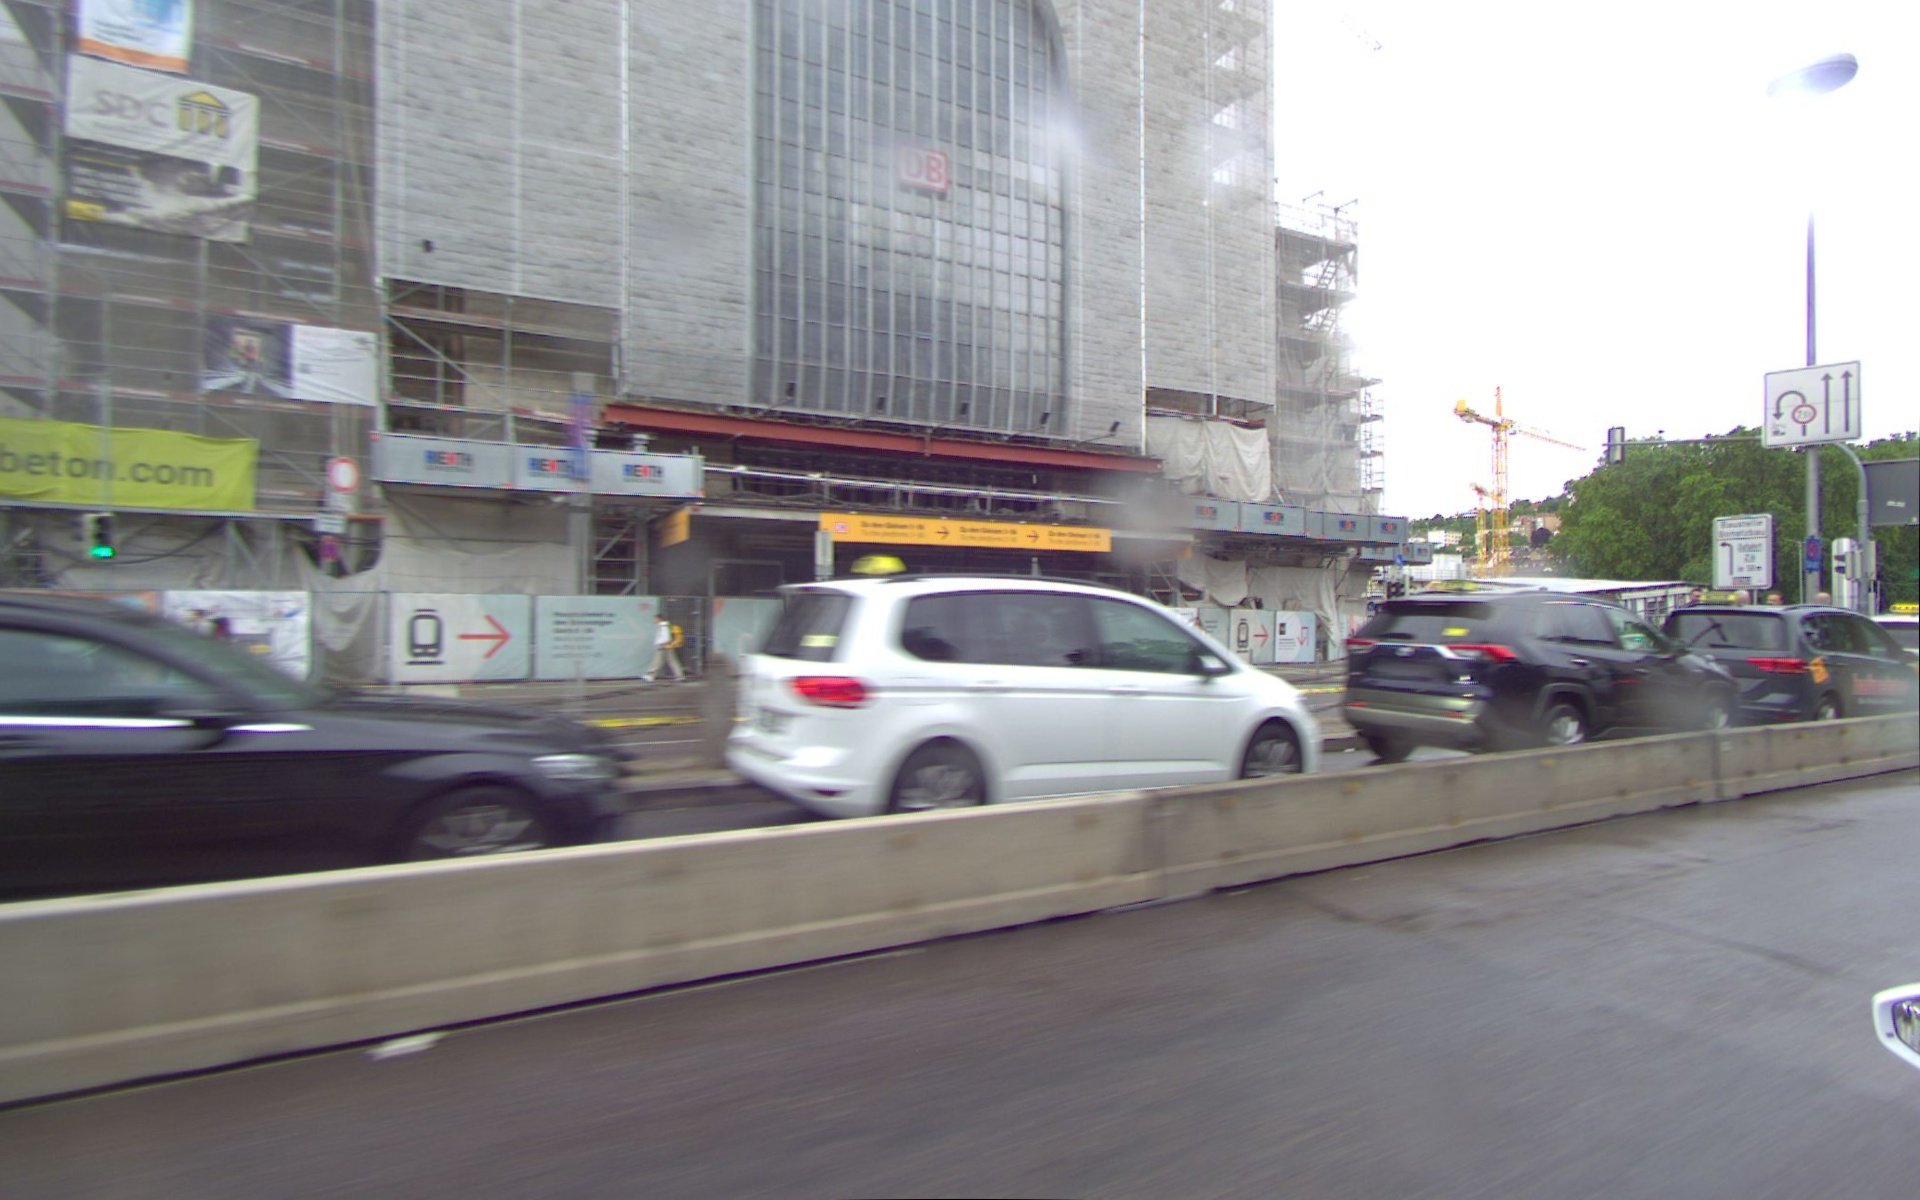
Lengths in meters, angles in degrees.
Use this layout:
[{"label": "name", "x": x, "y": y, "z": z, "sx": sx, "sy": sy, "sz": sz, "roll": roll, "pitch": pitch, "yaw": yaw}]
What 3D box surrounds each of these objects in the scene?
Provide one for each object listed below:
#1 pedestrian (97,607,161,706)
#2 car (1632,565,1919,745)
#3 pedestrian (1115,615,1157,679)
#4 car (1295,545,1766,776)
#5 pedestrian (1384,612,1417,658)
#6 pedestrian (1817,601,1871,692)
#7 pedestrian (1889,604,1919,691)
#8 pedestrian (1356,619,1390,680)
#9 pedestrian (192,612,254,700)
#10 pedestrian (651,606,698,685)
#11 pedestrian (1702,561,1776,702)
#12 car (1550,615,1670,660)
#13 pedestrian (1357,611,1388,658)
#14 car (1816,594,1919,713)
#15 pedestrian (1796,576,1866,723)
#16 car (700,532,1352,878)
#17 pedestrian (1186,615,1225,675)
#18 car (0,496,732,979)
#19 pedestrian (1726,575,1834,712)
[{"label": "pedestrian", "x": -14.860, "y": 0.992, "z": 17.969, "sx": 0.832, "sy": 1.708, "sz": 0.675, "roll": 1, "pitch": 0, "yaw": -43}, {"label": "car", "x": 10.559, "y": 0.643, "z": 12.608, "sx": 4.555, "sy": 1.917, "sz": 1.706, "roll": 1, "pitch": -1, "yaw": -30}, {"label": "pedestrian", "x": 5.197, "y": 1.368, "z": 29.675, "sx": 0.925, "sy": 1.865, "sz": 0.815, "roll": 1, "pitch": -1, "yaw": -30}, {"label": "car", "x": 5.746, "y": 0.532, "z": 9.971, "sx": 4.791, "sy": 1.810, "sz": 1.984, "roll": 1, "pitch": -1, "yaw": -31}, {"label": "pedestrian", "x": 18.462, "y": 1.476, "z": 42.110, "sx": 1.007, "sy": 1.906, "sz": 0.836, "roll": 1, "pitch": -2, "yaw": 1}, {"label": "pedestrian", "x": 17.482, "y": 0.904, "z": 19.863, "sx": 0.747, "sy": 1.758, "sz": 0.580, "roll": 1, "pitch": -1, "yaw": -30}, {"label": "pedestrian", "x": 21.158, "y": 1.039, "z": 22.208, "sx": 0.685, "sy": 1.911, "sz": 0.823, "roll": -1, "pitch": 0, "yaw": -39}, {"label": "pedestrian", "x": 12.760, "y": 1.515, "z": 31.024, "sx": 0.766, "sy": 1.865, "sz": 0.635, "roll": 1, "pitch": -1, "yaw": -31}, {"label": "pedestrian", "x": -14.093, "y": 1.052, "z": 19.224, "sx": 0.828, "sy": 1.635, "sz": 0.674, "roll": 1, "pitch": 0, "yaw": -27}, {"label": "pedestrian", "x": -6.896, "y": 1.079, "z": 24.282, "sx": 0.829, "sy": 1.865, "sz": 0.764, "roll": 1, "pitch": 0, "yaw": -43}, {"label": "pedestrian", "x": 11.672, "y": 0.468, "z": 15.048, "sx": 0.826, "sy": 2.040, "sz": 0.618, "roll": 1, "pitch": -1, "yaw": -30}, {"label": "car", "x": 23.091, "y": 1.327, "z": 35.662, "sx": 3.952, "sy": 1.487, "sz": 1.985, "roll": 2, "pitch": 0, "yaw": -29}, {"label": "pedestrian", "x": 17.369, "y": 1.454, "z": 42.307, "sx": 1.007, "sy": 1.906, "sz": 0.836, "roll": 1, "pitch": -2, "yaw": 1}, {"label": "car", "x": 15.579, "y": 0.813, "z": 15.787, "sx": 4.611, "sy": 1.708, "sz": 1.778, "roll": 1, "pitch": -1, "yaw": -30}, {"label": "pedestrian", "x": 12.473, "y": 0.696, "z": 14.378, "sx": 0.881, "sy": 2.040, "sz": 0.524, "roll": 1, "pitch": -1, "yaw": -32}, {"label": "car", "x": 0.578, "y": 0.605, "z": 7.279, "sx": 4.404, "sy": 1.810, "sz": 1.983, "roll": 1, "pitch": -1, "yaw": -32}, {"label": "pedestrian", "x": 7.730, "y": 1.400, "z": 31.589, "sx": 0.982, "sy": 1.865, "sz": 0.723, "roll": 1, "pitch": -1, "yaw": -30}, {"label": "car", "x": -3.791, "y": 0.514, "z": 4.589, "sx": 4.997, "sy": 1.734, "sz": 2.039, "roll": 1, "pitch": -2, "yaw": -31}, {"label": "pedestrian", "x": 12.619, "y": 0.656, "z": 15.495, "sx": 1.007, "sy": 2.040, "sz": 0.837, "roll": 0, "pitch": -1, "yaw": 8}]
